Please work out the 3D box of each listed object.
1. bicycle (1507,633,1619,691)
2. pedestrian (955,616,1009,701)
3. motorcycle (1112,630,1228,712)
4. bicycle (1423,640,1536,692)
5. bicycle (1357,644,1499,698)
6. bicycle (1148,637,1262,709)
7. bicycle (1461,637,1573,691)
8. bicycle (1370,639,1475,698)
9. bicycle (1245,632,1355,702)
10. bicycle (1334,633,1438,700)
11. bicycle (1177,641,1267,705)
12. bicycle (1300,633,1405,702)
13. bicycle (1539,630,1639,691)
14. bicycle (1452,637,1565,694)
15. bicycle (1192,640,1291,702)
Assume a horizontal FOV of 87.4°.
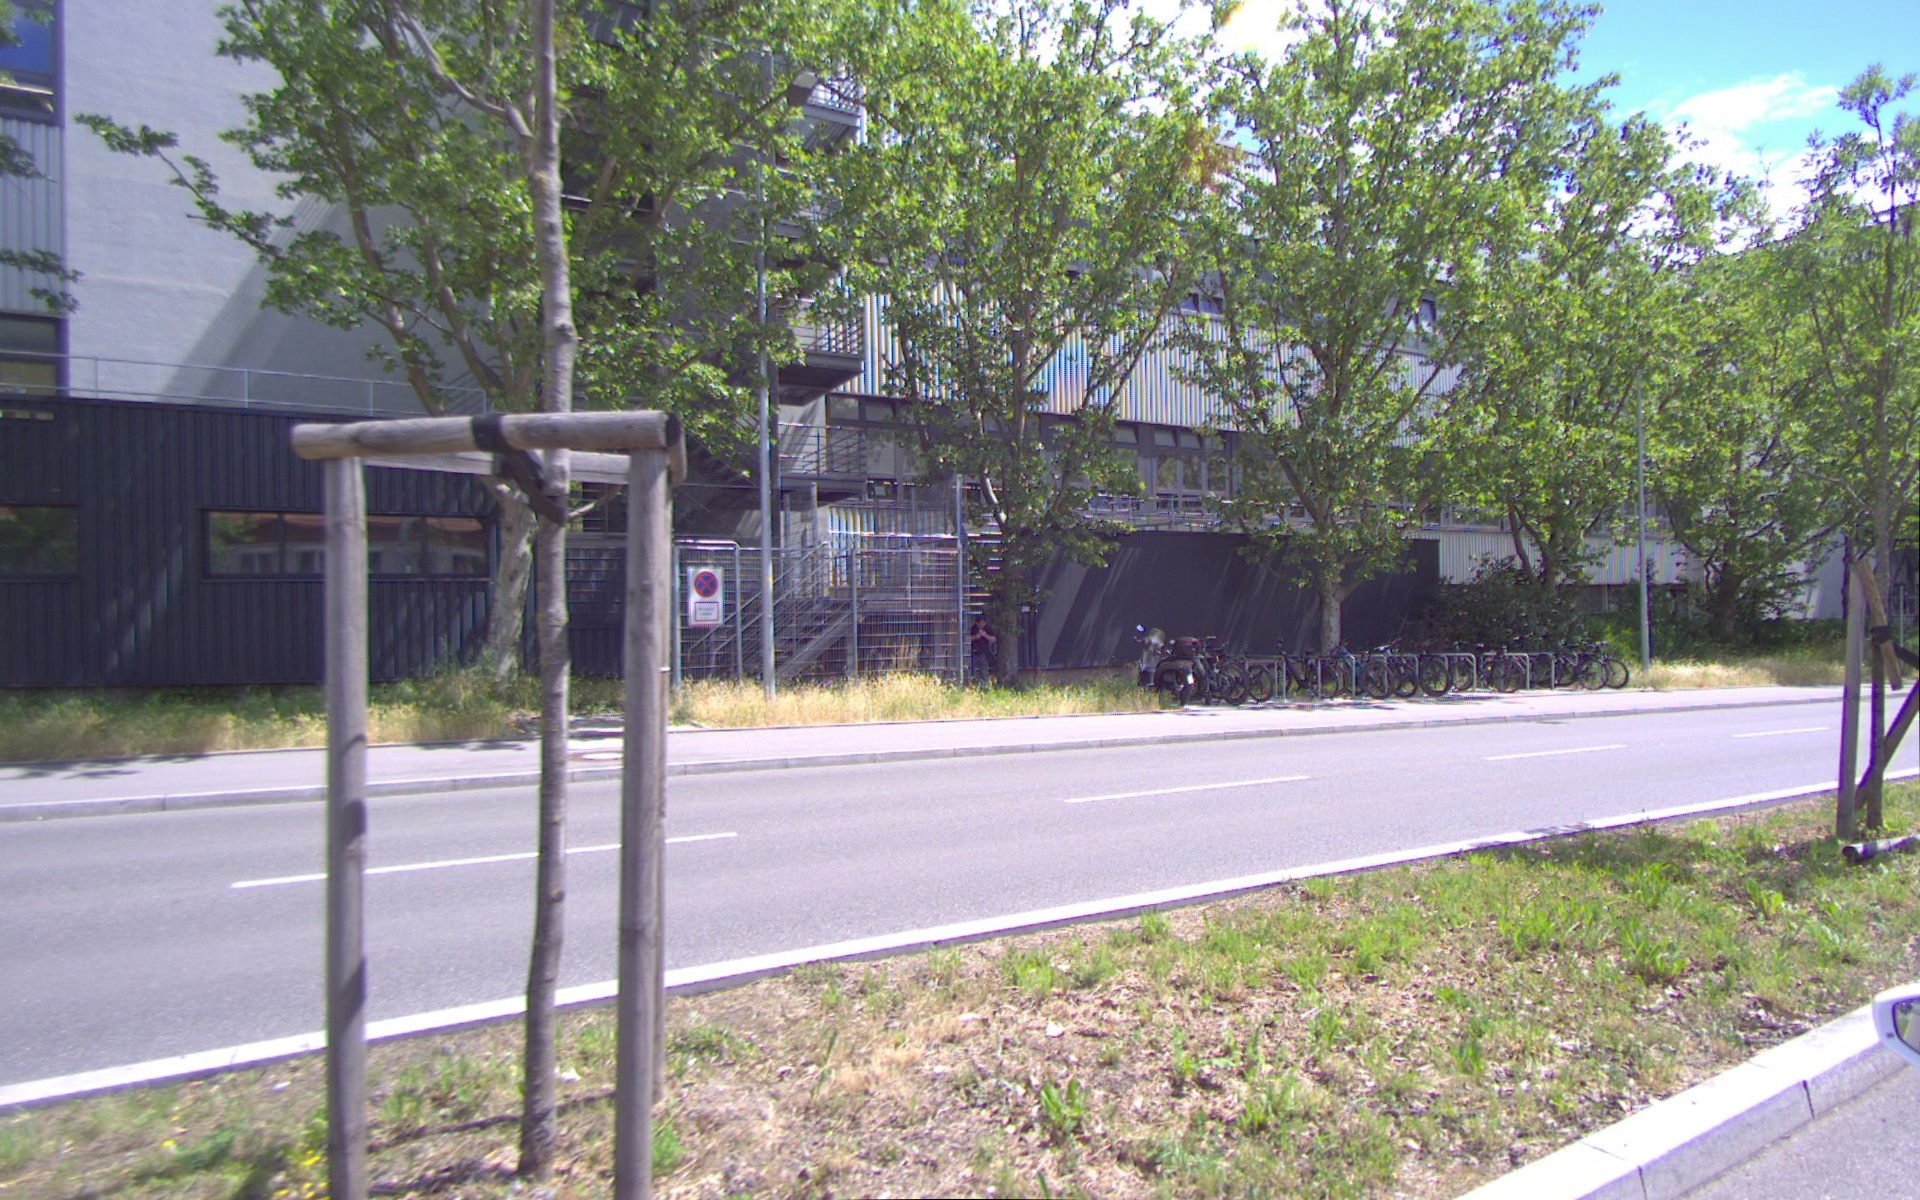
[{"bbox_3d":[14.552,1.468,24.340,0.548,1.274,2.395,1,-1,-27],"label":"bicycle"},{"bbox_3d":[0.417,1.100,19.207,0.808,1.572,0.753,1,0,-20],"label":"pedestrian"},{"bbox_3d":[3.726,1.224,18.008,0.797,1.326,2.123,1,-1,-31],"label":"motorcycle"},{"bbox_3d":[11.976,1.493,23.293,0.685,1.110,2.562,1,-2,-19],"label":"bicycle"},{"bbox_3d":[10.363,1.537,22.367,0.843,1.020,2.813,1,-1,-38],"label":"bicycle"},{"bbox_3d":[4.492,1.306,18.559,0.797,1.196,2.123,1,-1,-31],"label":"bicycle"},{"bbox_3d":[13.516,1.529,24.466,0.714,1.173,2.562,1,0,-19],"label":"bicycle"},{"bbox_3d":[9.828,1.424,21.415,0.797,1.137,1.908,1,-1,-31],"label":"bicycle"},{"bbox_3d":[6.908,1.323,20.518,0.797,1.299,2.123,1,-1,-31],"label":"bicycle"},{"bbox_3d":[8.905,1.363,21.061,0.797,1.299,1.908,1,-1,-31],"label":"bicycle"},{"bbox_3d":[4.976,1.366,19.208,0.417,1.089,1.914,1,-1,-31],"label":"bicycle"},{"bbox_3d":[7.963,1.337,20.478,0.797,1.299,1.908,1,-1,-31],"label":"bicycle"},{"bbox_3d":[15.513,1.463,24.850,0.483,1.382,2.159,1,-1,-27],"label":"bicycle"},{"bbox_3d":[12.790,1.505,23.540,0.634,1.173,2.562,1,0,-19],"label":"bicycle"},{"bbox_3d":[5.402,1.345,19.395,0.491,1.076,2.070,1,-1,-31],"label":"bicycle"}]
